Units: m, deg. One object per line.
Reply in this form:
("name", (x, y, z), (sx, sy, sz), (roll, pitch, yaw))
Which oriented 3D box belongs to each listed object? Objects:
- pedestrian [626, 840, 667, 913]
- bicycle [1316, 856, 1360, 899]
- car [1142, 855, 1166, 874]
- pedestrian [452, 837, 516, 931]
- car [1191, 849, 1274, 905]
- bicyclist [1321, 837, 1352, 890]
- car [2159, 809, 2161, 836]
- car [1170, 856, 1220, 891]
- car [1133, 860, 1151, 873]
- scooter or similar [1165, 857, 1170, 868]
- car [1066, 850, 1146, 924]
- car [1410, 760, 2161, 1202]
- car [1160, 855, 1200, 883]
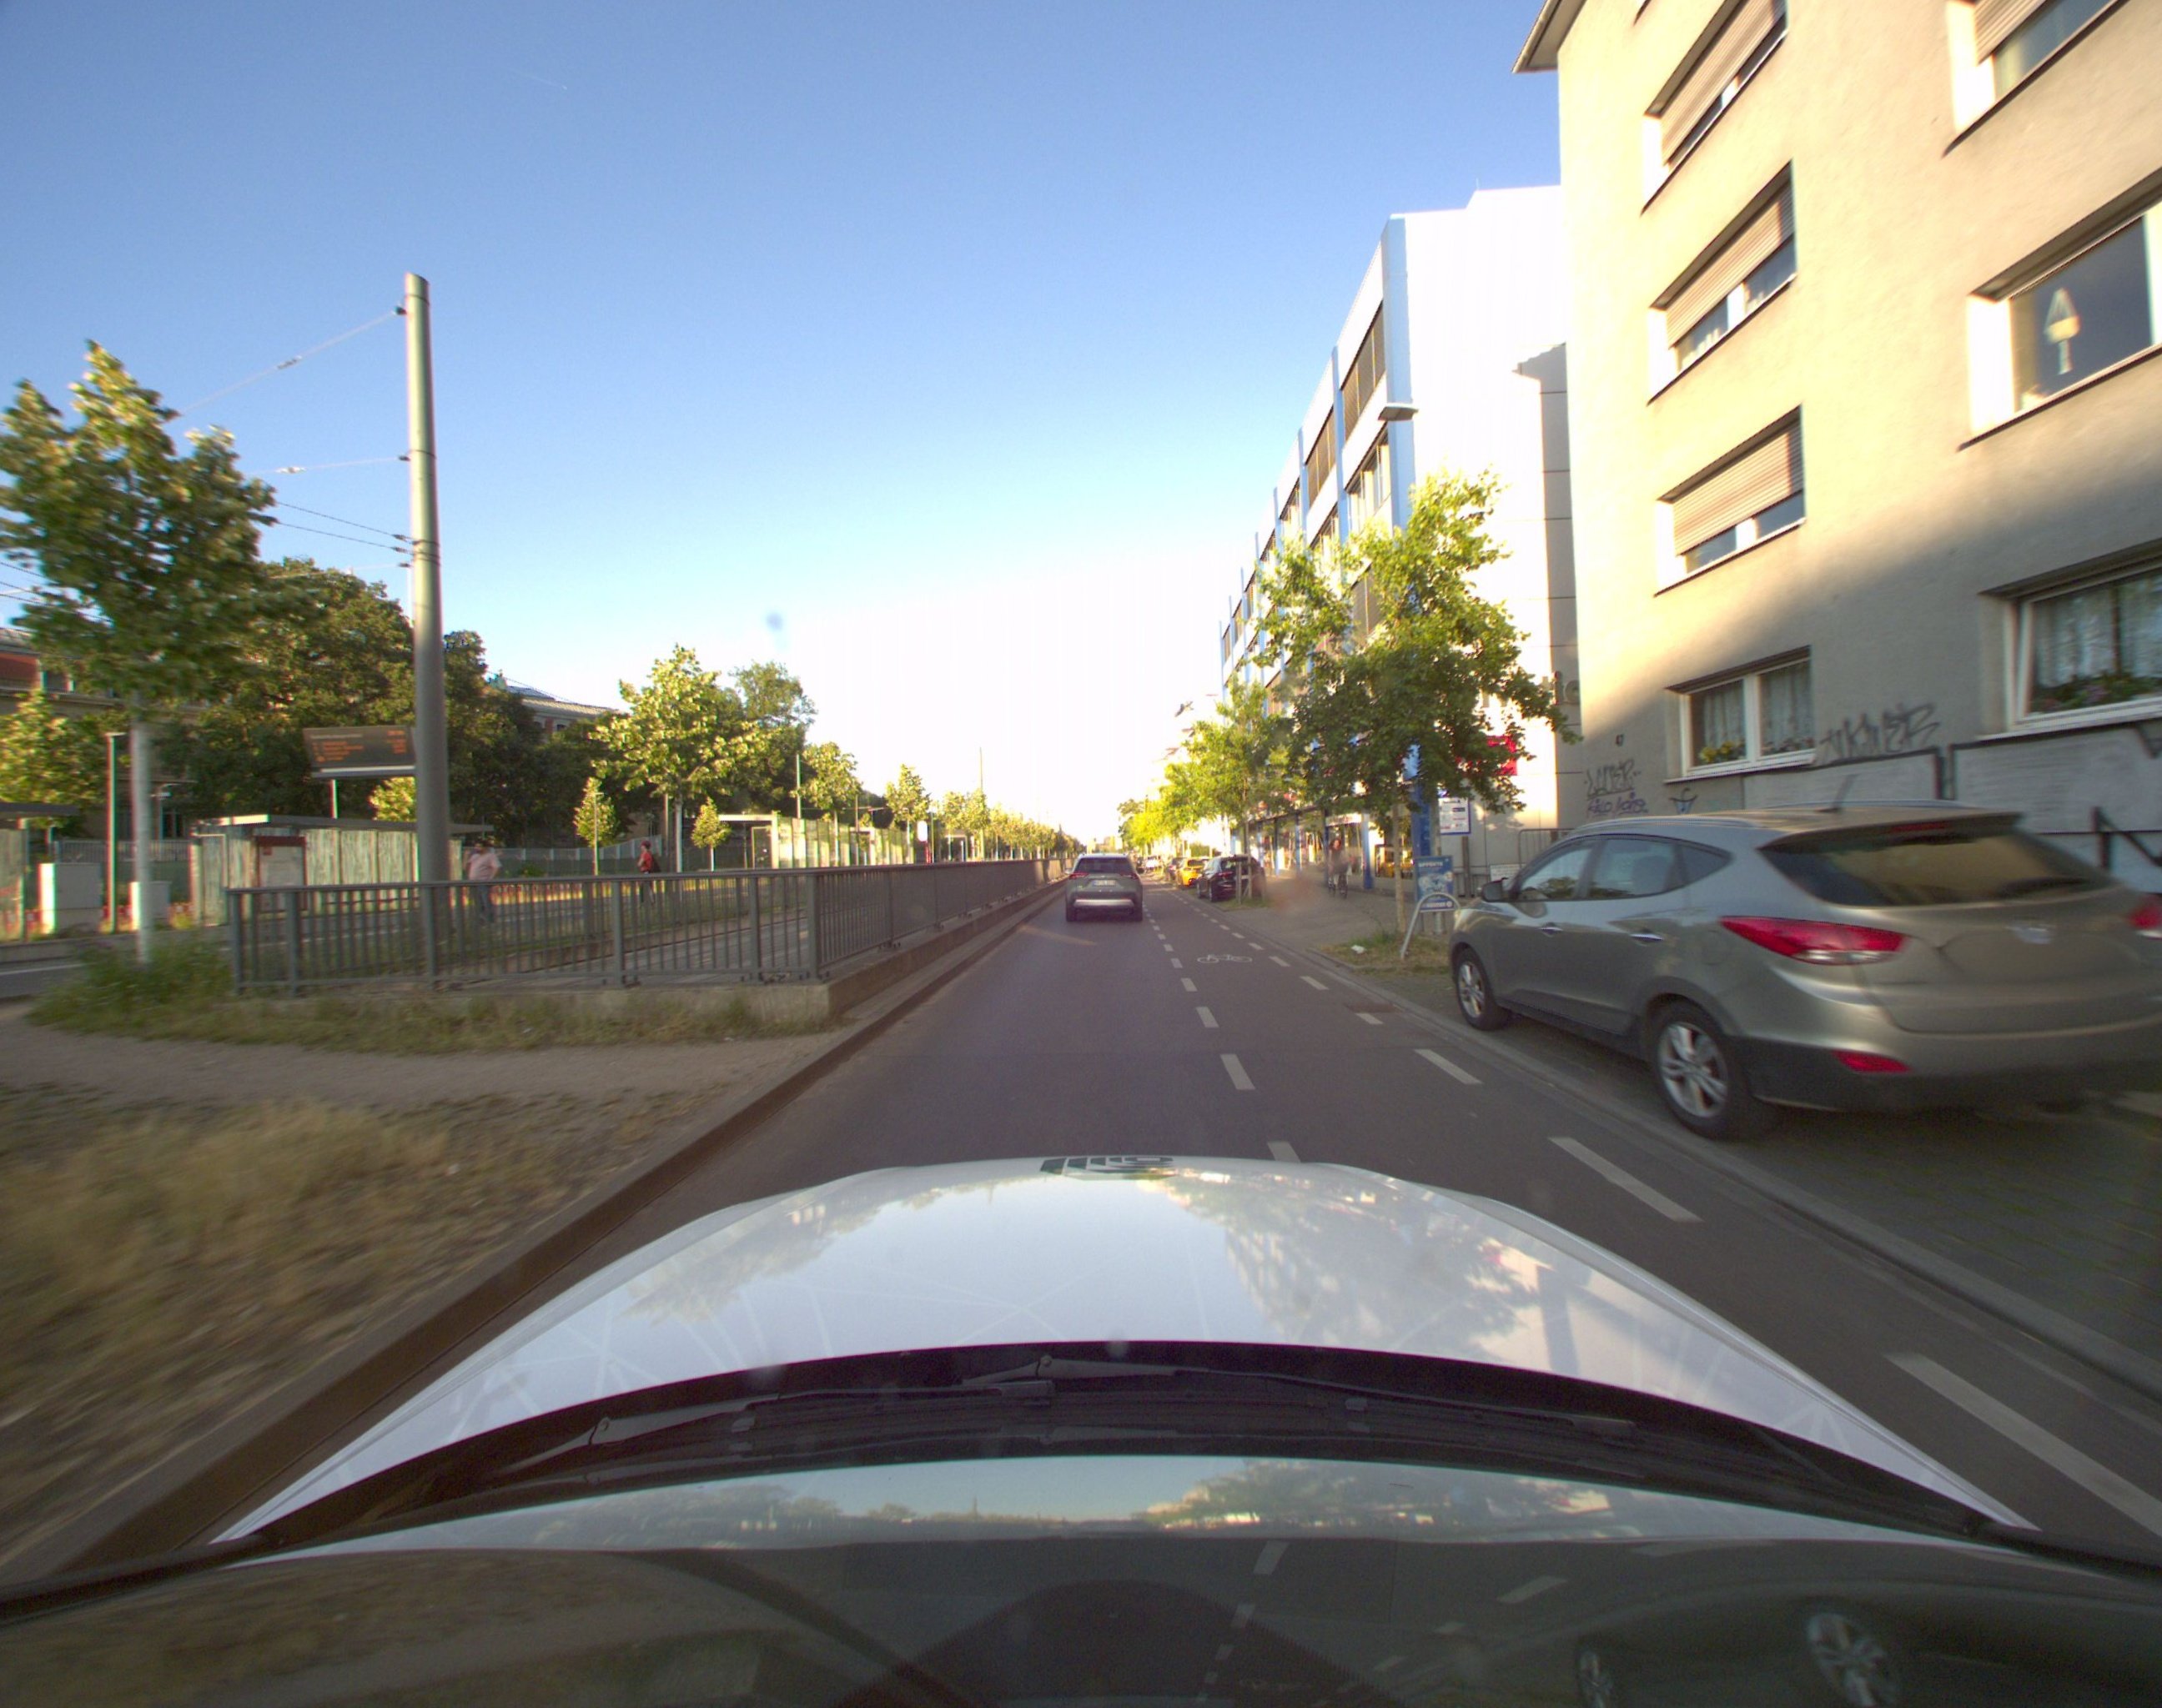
("pedestrian", (-10.475, 0.534, 19.645), (0.634, 1.729, 0.634), (-2, 0, -11))
("bicycle", (7.340, 0.660, 23.325), (0.552, 1.129, 1.974), (-5, -1, 0))
("car", (6.897, 0.969, 77.577), (1.848, 1.706, 4.254), (-2, 0, 0))
("pedestrian", (-11.356, 0.556, 15.506), (0.724, 1.744, 0.635), (-2, 0, -6))
("car", (5.024, 0.736, 27.593), (1.813, 1.566, 4.810), (-6, 0, 0))
("bicyclist", (7.315, 0.271, 23.337), (0.556, 1.475, 0.623), (-5, -1, 0))
("car", (3.872, 0.537, 0.454), (1.664, 1.518, 3.601), (-6, 0, 0))
("car", (5.268, 0.863, 38.046), (1.678, 1.454, 4.129), (-3, -1, 0))
("car", (7.995, 1.609, 106.906), (1.787, 1.471, 4.443), (-5, 0, -1))
("scooter or similar", (10.488, 1.054, 98.633), (0.489, 1.258, 1.207), (-1, -1, -1))
("car", (0.588, 0.785, 20.908), (1.852, 1.714, 4.192), (0, -1, 0))
("car", (3.986, 0.498, 5.488), (1.750, 1.654, 4.531), (-5, 0, 2))
("car", (5.831, 0.864, 48.171), (1.813, 1.454, 4.128), (-3, -1, 0))
